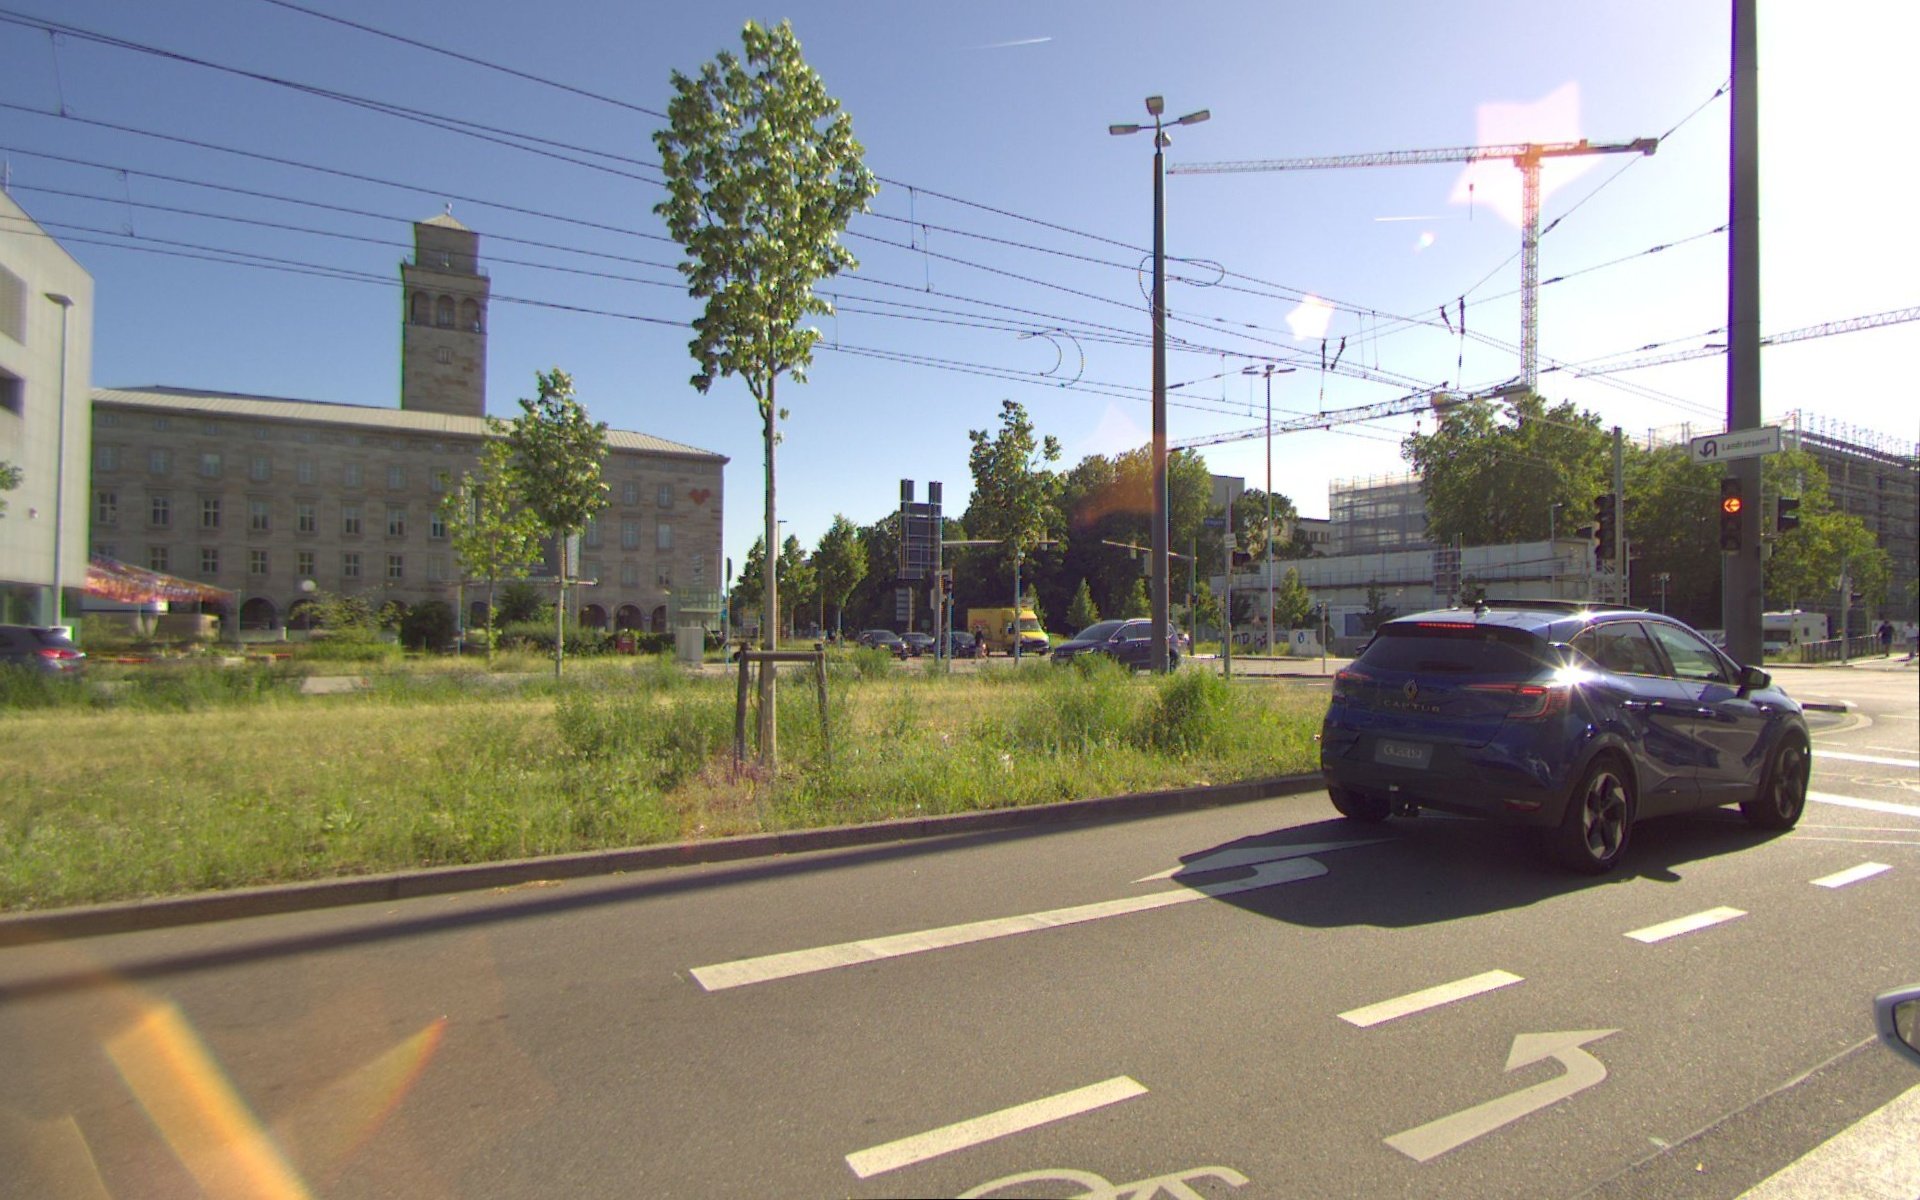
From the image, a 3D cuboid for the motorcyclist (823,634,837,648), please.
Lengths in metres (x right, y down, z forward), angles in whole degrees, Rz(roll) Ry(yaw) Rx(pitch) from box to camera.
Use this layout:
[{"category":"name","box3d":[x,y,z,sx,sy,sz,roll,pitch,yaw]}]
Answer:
[{"category":"motorcyclist","box3d":[-10.412,3.279,80.536,0.784,1.096,1.012,2,-3,-28]}]

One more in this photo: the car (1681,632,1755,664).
[{"category":"car","box3d":[42.109,2.639,55.790,4.319,1.730,1.935,2,-2,-32]}]

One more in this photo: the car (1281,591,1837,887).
[{"category":"car","box3d":[4.420,0.794,7.280,4.041,1.609,1.761,1,0,-31]}]

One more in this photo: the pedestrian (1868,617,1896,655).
[{"category":"pedestrian","box3d":[44.990,1.755,49.007,0.966,1.847,0.795,1,-1,-33]}]

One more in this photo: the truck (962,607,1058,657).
[{"category":"truck","box3d":[2.868,1.929,60.891,2.429,2.829,7.985,1,-2,-25]}]

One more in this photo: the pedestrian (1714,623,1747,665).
[{"category":"pedestrian","box3d":[35.022,1.993,45.667,0.864,1.847,0.803,0,-1,2]}]

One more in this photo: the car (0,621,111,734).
[{"category":"car","box3d":[-16.032,1.181,15.561,4.040,1.711,1.819,1,-1,-28]}]

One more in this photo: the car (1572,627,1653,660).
[{"category":"car","box3d":[35.901,2.395,55.230,4.507,1.730,1.984,1,-2,-31]}]

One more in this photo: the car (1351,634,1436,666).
[{"category":"car","box3d":[23.542,2.706,54.688,3.919,1.622,2.001,0,-2,13]}]

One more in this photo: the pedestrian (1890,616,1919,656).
[{"category":"pedestrian","box3d":[44.106,1.665,46.879,0.966,1.847,0.795,1,-1,-33]}]

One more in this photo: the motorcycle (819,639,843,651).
[{"category":"motorcycle","box3d":[-10.349,3.610,80.407,0.784,0.922,3.235,2,-3,-27]}]

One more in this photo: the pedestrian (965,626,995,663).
[{"category":"pedestrian","box3d":[0.945,2.071,47.036,0.936,1.708,1.186,0,0,-30]}]

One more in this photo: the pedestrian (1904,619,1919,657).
[{"category":"pedestrian","box3d":[47.087,1.865,49.387,0.966,1.847,0.795,1,-1,-33]}]

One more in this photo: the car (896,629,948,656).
[{"category":"car","box3d":[-2.391,2.611,61.983,1.877,1.559,3.976,1,-2,-25]}]

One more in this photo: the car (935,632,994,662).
[{"category":"car","box3d":[0.236,2.660,57.388,1.877,1.559,3.976,1,-2,-25]}]

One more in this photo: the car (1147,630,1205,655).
[{"category":"car","box3d":[14.774,2.869,68.831,1.973,1.622,3.976,1,-2,-24]}]

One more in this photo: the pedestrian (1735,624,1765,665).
[{"category":"pedestrian","box3d":[36.378,2.045,46.252,0.966,1.847,0.795,1,-1,-33]}]

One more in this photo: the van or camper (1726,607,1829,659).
[{"category":"van or camper","box3d":[48.892,1.973,60.025,7.261,2.976,2.591,1,-2,-32]}]

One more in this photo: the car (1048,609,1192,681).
[{"category":"car","box3d":[4.720,1.294,29.536,3.954,1.981,1.861,1,-2,-31]}]

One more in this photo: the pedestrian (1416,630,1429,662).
[{"category":"pedestrian","box3d":[27.001,2.692,58.648,0.687,1.847,0.595,0,-1,22]}]

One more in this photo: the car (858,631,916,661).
[{"category":"car","box3d":[-4.073,2.504,55.477,1.877,1.559,3.976,1,-2,-25]}]
